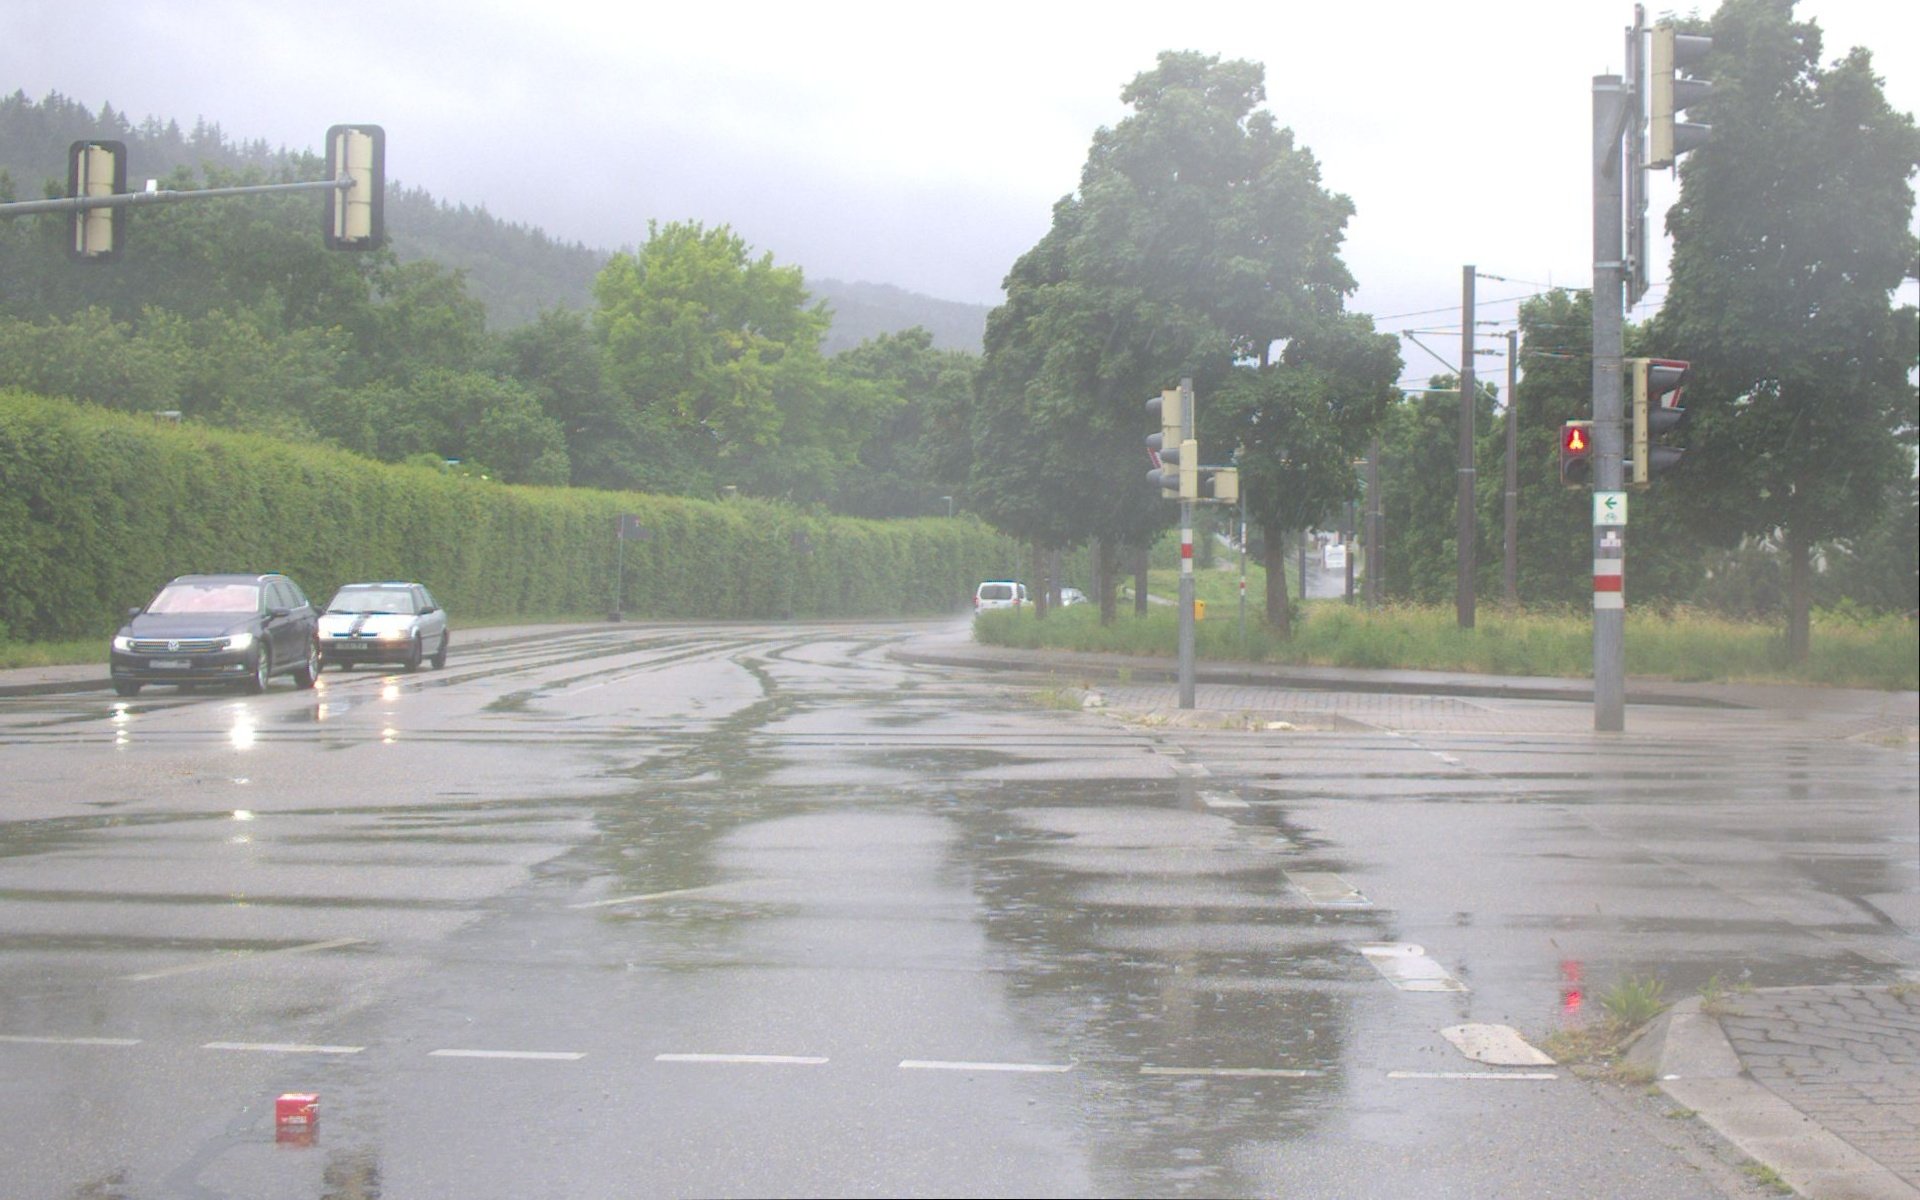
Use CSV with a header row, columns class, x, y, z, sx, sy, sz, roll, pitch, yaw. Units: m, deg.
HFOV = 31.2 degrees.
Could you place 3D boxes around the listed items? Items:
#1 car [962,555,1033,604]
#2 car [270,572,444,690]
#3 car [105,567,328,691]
class,x,y,z,sx,sy,sz,roll,pitch,yaw
car,1.514,-0.822,137.167,1.954,1.897,4.118,0,1,13
car,-9.384,0.453,53.792,2.036,1.702,4.066,1,1,-1
car,-9.326,0.327,43.433,1.709,1.461,4.453,0,1,2
